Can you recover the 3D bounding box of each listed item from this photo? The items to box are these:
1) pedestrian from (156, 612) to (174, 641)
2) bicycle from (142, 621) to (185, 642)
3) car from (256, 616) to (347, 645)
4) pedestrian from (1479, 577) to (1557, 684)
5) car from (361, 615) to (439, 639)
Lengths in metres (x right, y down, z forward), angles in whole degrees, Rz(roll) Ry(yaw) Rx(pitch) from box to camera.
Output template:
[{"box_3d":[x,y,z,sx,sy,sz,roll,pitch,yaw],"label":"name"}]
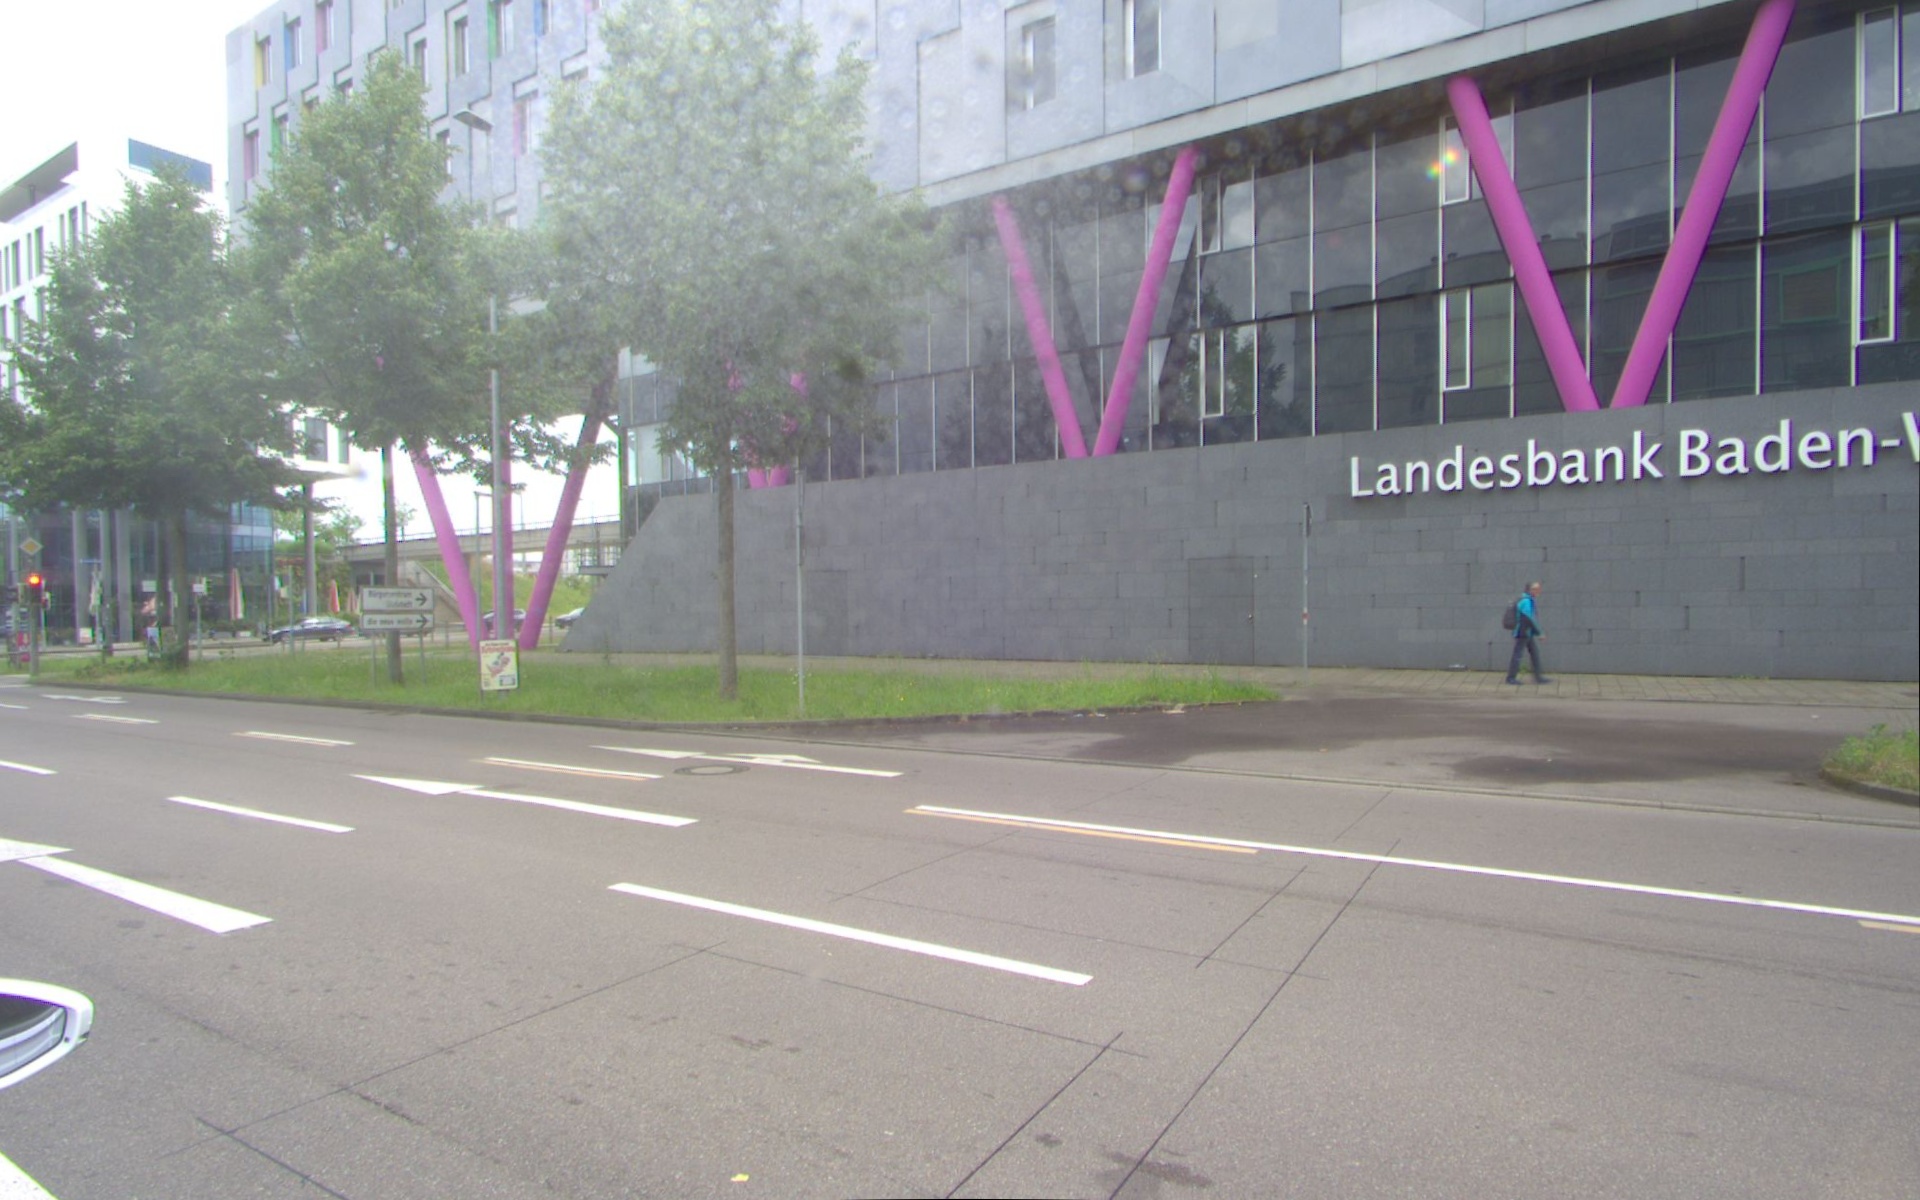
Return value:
[{"box_3d":[-43.976,1.465,55.385,0.610,1.625,0.613,0,1,34],"label":"pedestrian"},{"box_3d":[-44.009,1.732,55.337,0.609,1.100,1.787,0,0,34],"label":"bicycle"},{"box_3d":[-39.169,1.794,59.651,1.734,1.636,4.240,0,0,34],"label":"car"},{"box_3d":[9.714,0.509,17.426,1.121,1.794,1.049,0,1,33],"label":"pedestrian"},{"box_3d":[-36.237,1.719,64.925,1.734,1.474,4.070,0,0,34],"label":"car"}]
